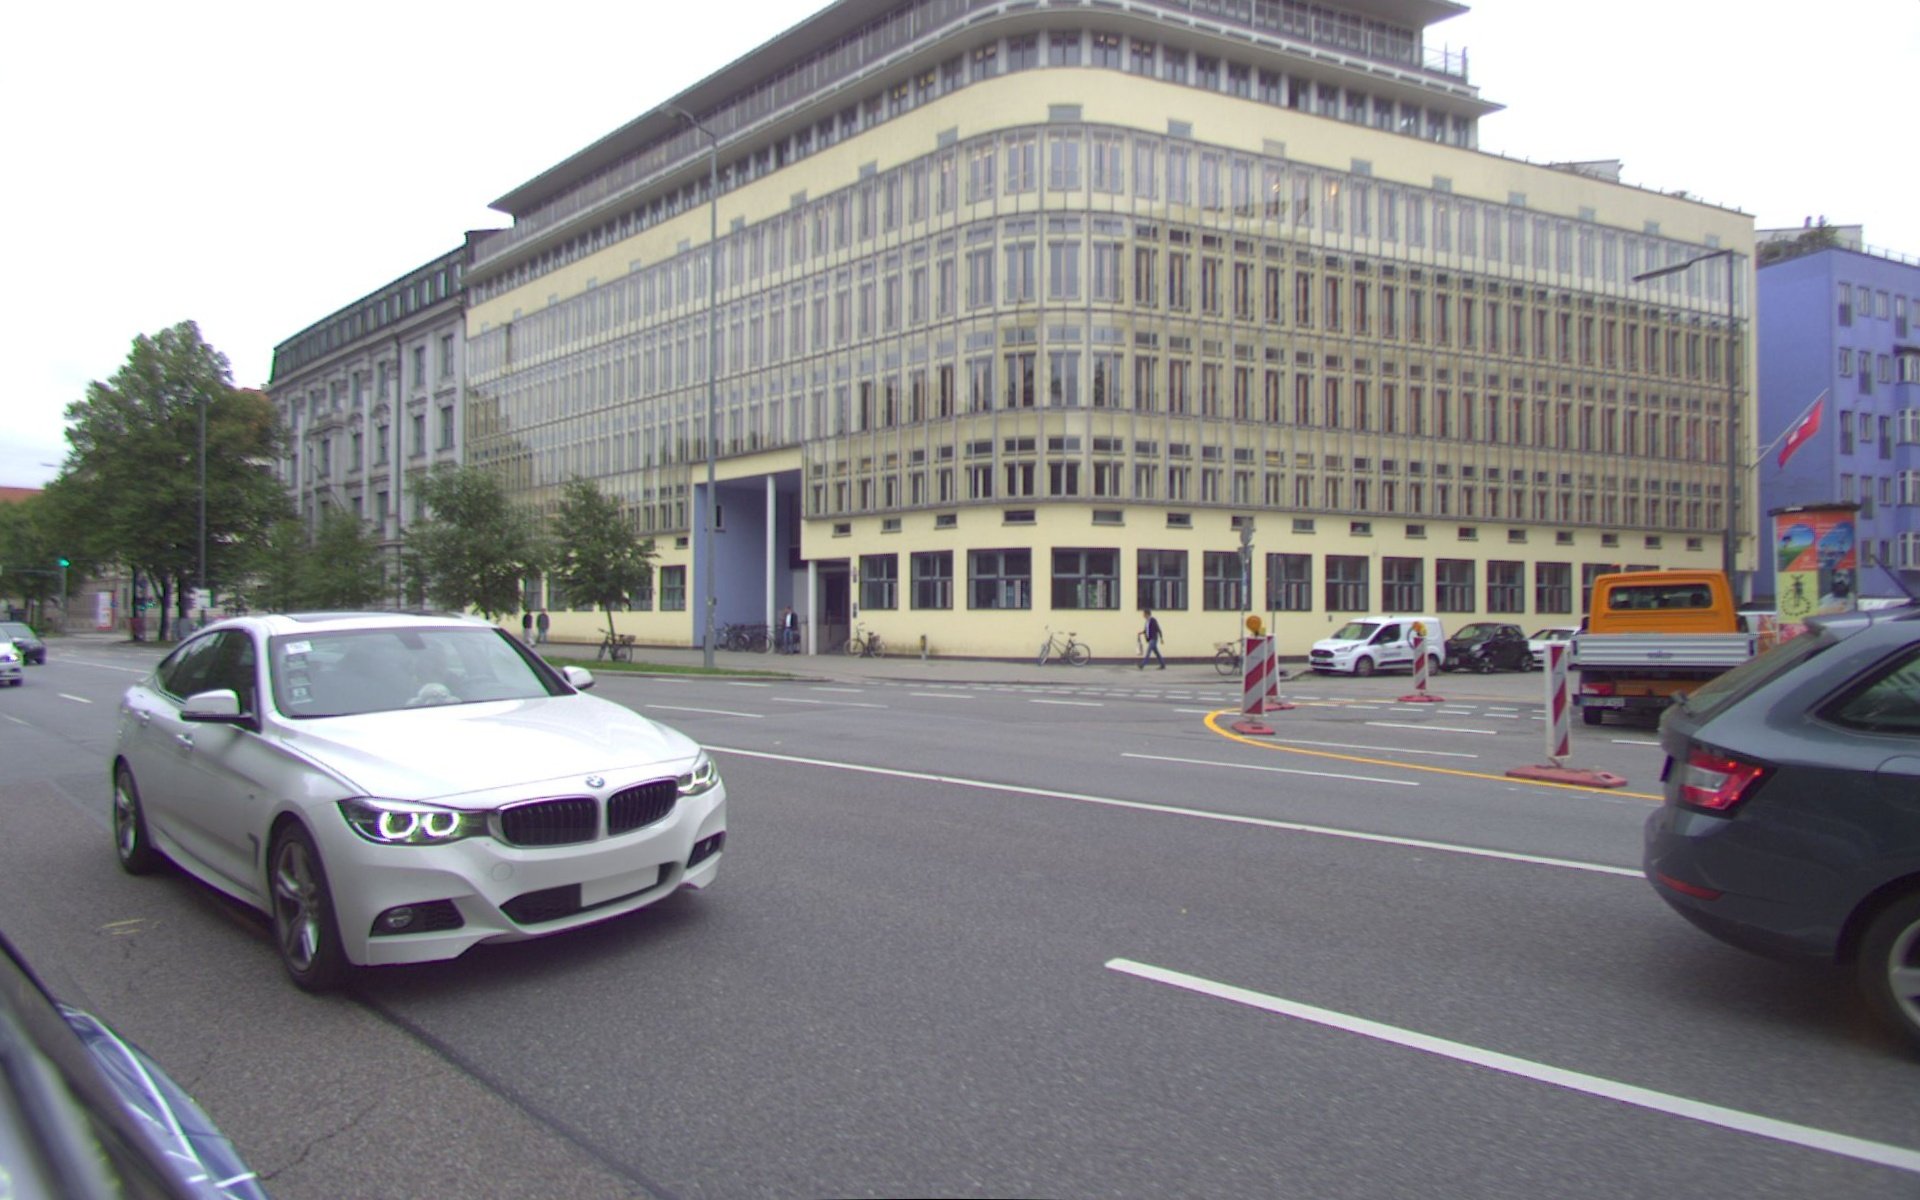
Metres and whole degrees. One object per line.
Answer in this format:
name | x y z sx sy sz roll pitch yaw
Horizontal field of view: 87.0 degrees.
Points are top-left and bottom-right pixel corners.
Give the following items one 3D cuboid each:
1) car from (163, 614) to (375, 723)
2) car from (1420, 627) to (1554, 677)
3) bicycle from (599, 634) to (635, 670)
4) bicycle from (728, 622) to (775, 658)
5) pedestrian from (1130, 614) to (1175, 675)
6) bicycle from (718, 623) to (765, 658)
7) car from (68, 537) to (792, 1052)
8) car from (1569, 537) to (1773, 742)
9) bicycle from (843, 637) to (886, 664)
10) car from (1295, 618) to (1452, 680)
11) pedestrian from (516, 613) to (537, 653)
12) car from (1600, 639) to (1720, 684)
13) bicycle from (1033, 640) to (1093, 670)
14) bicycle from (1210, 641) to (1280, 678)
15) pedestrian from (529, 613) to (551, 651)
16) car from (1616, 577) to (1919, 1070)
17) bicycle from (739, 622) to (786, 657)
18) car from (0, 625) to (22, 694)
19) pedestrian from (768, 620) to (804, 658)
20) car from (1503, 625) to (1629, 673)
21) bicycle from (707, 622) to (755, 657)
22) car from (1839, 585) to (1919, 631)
car | -11.130 0.996 16.184 4.335 1.528 1.674 -1 -2 40
car | 16.510 1.592 31.724 3.607 1.468 1.748 0 -1 -21
bicycle | -10.173 1.536 29.979 1.382 1.020 0.278 -1 0 37
bicycle | -8.332 1.583 40.592 0.573 1.328 1.991 -1 0 35
pedestrian | 5.689 1.298 29.955 0.978 1.746 0.817 -1 0 -19
bicycle | -8.832 1.616 40.960 0.573 1.328 1.991 -1 0 35
car | -3.245 0.654 5.560 5.023 1.649 1.774 -1 -1 40
car | 10.951 0.552 15.587 2.153 2.556 5.629 -1 -2 36
bicycle | -3.283 1.738 34.761 1.737 0.884 0.471 -2 -2 44
car | 12.507 1.442 30.654 4.254 1.763 1.876 0 -1 -21
pedestrian | -20.096 1.530 46.913 0.835 1.790 0.609 -1 0 41
car | 24.861 2.149 35.961 3.607 1.468 1.748 0 -1 -21
bicycle | 3.125 1.674 30.712 1.709 0.884 0.587 0 -1 -8
bicycle | 8.153 1.699 28.944 1.817 1.028 0.587 0 -1 -8
pedestrian | -19.681 1.492 47.395 0.835 1.790 0.609 -1 0 41
car | 4.462 0.661 2.790 4.272 1.458 1.774 -1 -1 40
bicycle | -7.827 1.550 40.244 0.573 1.328 1.991 -1 0 35
car | -22.358 1.288 22.438 4.272 1.458 1.774 -1 -1 40
pedestrian | -6.497 1.444 37.717 1.085 1.375 0.829 -2 -2 40
car | 20.004 1.592 33.394 3.896 1.509 1.494 0 -2 -22
bicycle | -9.351 1.592 41.357 0.637 1.328 1.991 -1 0 35
car | 37.439 0.342 40.497 3.930 1.763 1.876 0 -2 -24
